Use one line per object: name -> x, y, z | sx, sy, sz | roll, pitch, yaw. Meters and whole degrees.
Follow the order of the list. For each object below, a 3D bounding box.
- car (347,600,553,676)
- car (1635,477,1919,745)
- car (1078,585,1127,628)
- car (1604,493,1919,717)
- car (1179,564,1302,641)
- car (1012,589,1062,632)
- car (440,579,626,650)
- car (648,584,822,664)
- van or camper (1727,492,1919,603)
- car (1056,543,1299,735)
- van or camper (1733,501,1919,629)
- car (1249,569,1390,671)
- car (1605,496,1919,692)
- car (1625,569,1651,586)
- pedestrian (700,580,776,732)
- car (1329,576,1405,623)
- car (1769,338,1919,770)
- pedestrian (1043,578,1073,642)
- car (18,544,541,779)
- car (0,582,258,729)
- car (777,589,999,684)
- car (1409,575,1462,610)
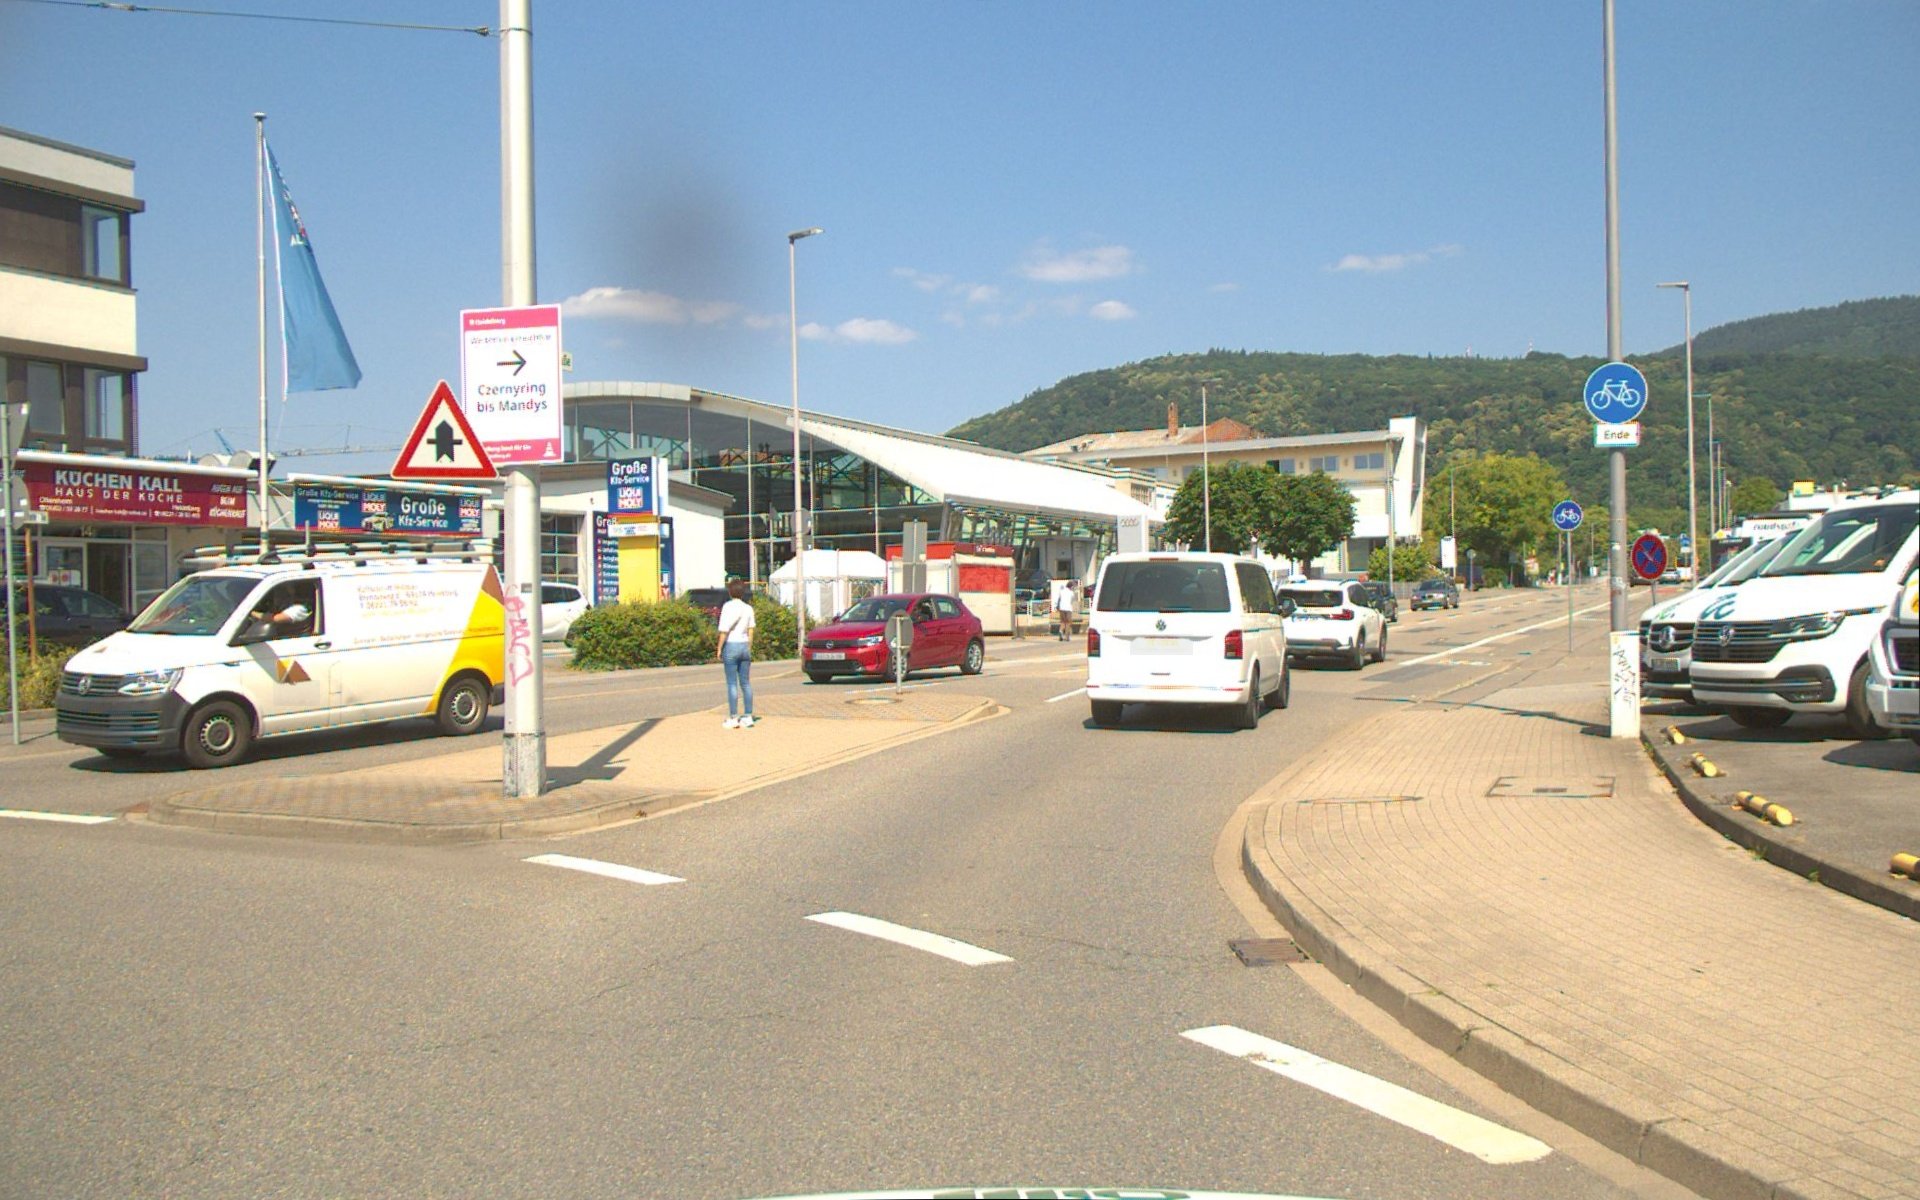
car -> -11.208, 0.800, 36.674 | 1.986, 1.451, 4.315 | -2, 0, 24
car -> 8.685, 0.017, 14.098 | 5.047, 2.035, 2.021 | -2, -1, -8
car -> 5.613, 0.228, 65.373 | 1.709, 1.612, 3.662 | -1, 0, 2
car -> 9.517, -0.027, 16.953 | 5.032, 2.049, 1.929 | -3, 0, -4
car -> 7.228, 0.026, 42.314 | 1.871, 1.791, 4.447 | -2, 0, 26
car -> 3.038, 0.385, 64.777 | 1.708, 1.612, 3.664 | -1, 0, 5
car -> -10.789, 0.339, 42.170 | 1.843, 1.616, 4.925 | -4, -1, 25
car -> -5.115, 0.523, 38.132 | 1.956, 1.646, 3.994 | -2, 0, 29
van or camper -> 23.273, -1.331, 42.279 | 6.478, 2.606, 3.396 | -1, 0, 28
car -> 2.826, 0.376, 20.347 | 2.117, 2.049, 5.021 | 0, 1, 17
van or camper -> 20.333, -0.760, 35.807 | 6.378, 2.606, 2.971 | -1, 0, 28
car -> 6.925, 0.310, 31.611 | 1.953, 1.737, 4.000 | 1, 2, 22
car -> 10.625, -0.078, 19.694 | 5.040, 2.131, 2.048 | -2, -2, -4
car -> 54.256, -1.811, 132.292 | 1.684, 1.326, 3.998 | -2, 0, 25
pedestrian -> -2.542, 0.623, 18.914 | 0.747, 1.685, 0.670 | -1, 0, -16
car -> 14.198, -0.028, 57.612 | 1.804, 1.489, 3.998 | -2, 0, 25
car -> 9.060, -0.400, 11.406 | 6.026, 2.764, 2.301 | -2, 0, -11
pedestrian -> 2.864, 0.281, 48.094 | 0.743, 1.819, 0.785 | -1, 0, 10
car -> -7.078, 0.508, 17.773 | 1.986, 2.151, 4.919 | -1, 1, 34
car -> -13.343, 0.769, 24.608 | 1.922, 2.000, 5.273 | -1, 0, 29
car -> -1.141, 0.585, 28.135 | 1.807, 1.490, 4.135 | -2, -1, 30
car -> 22.151, -0.376, 77.002 | 1.804, 1.489, 3.998 | -2, 0, 24
